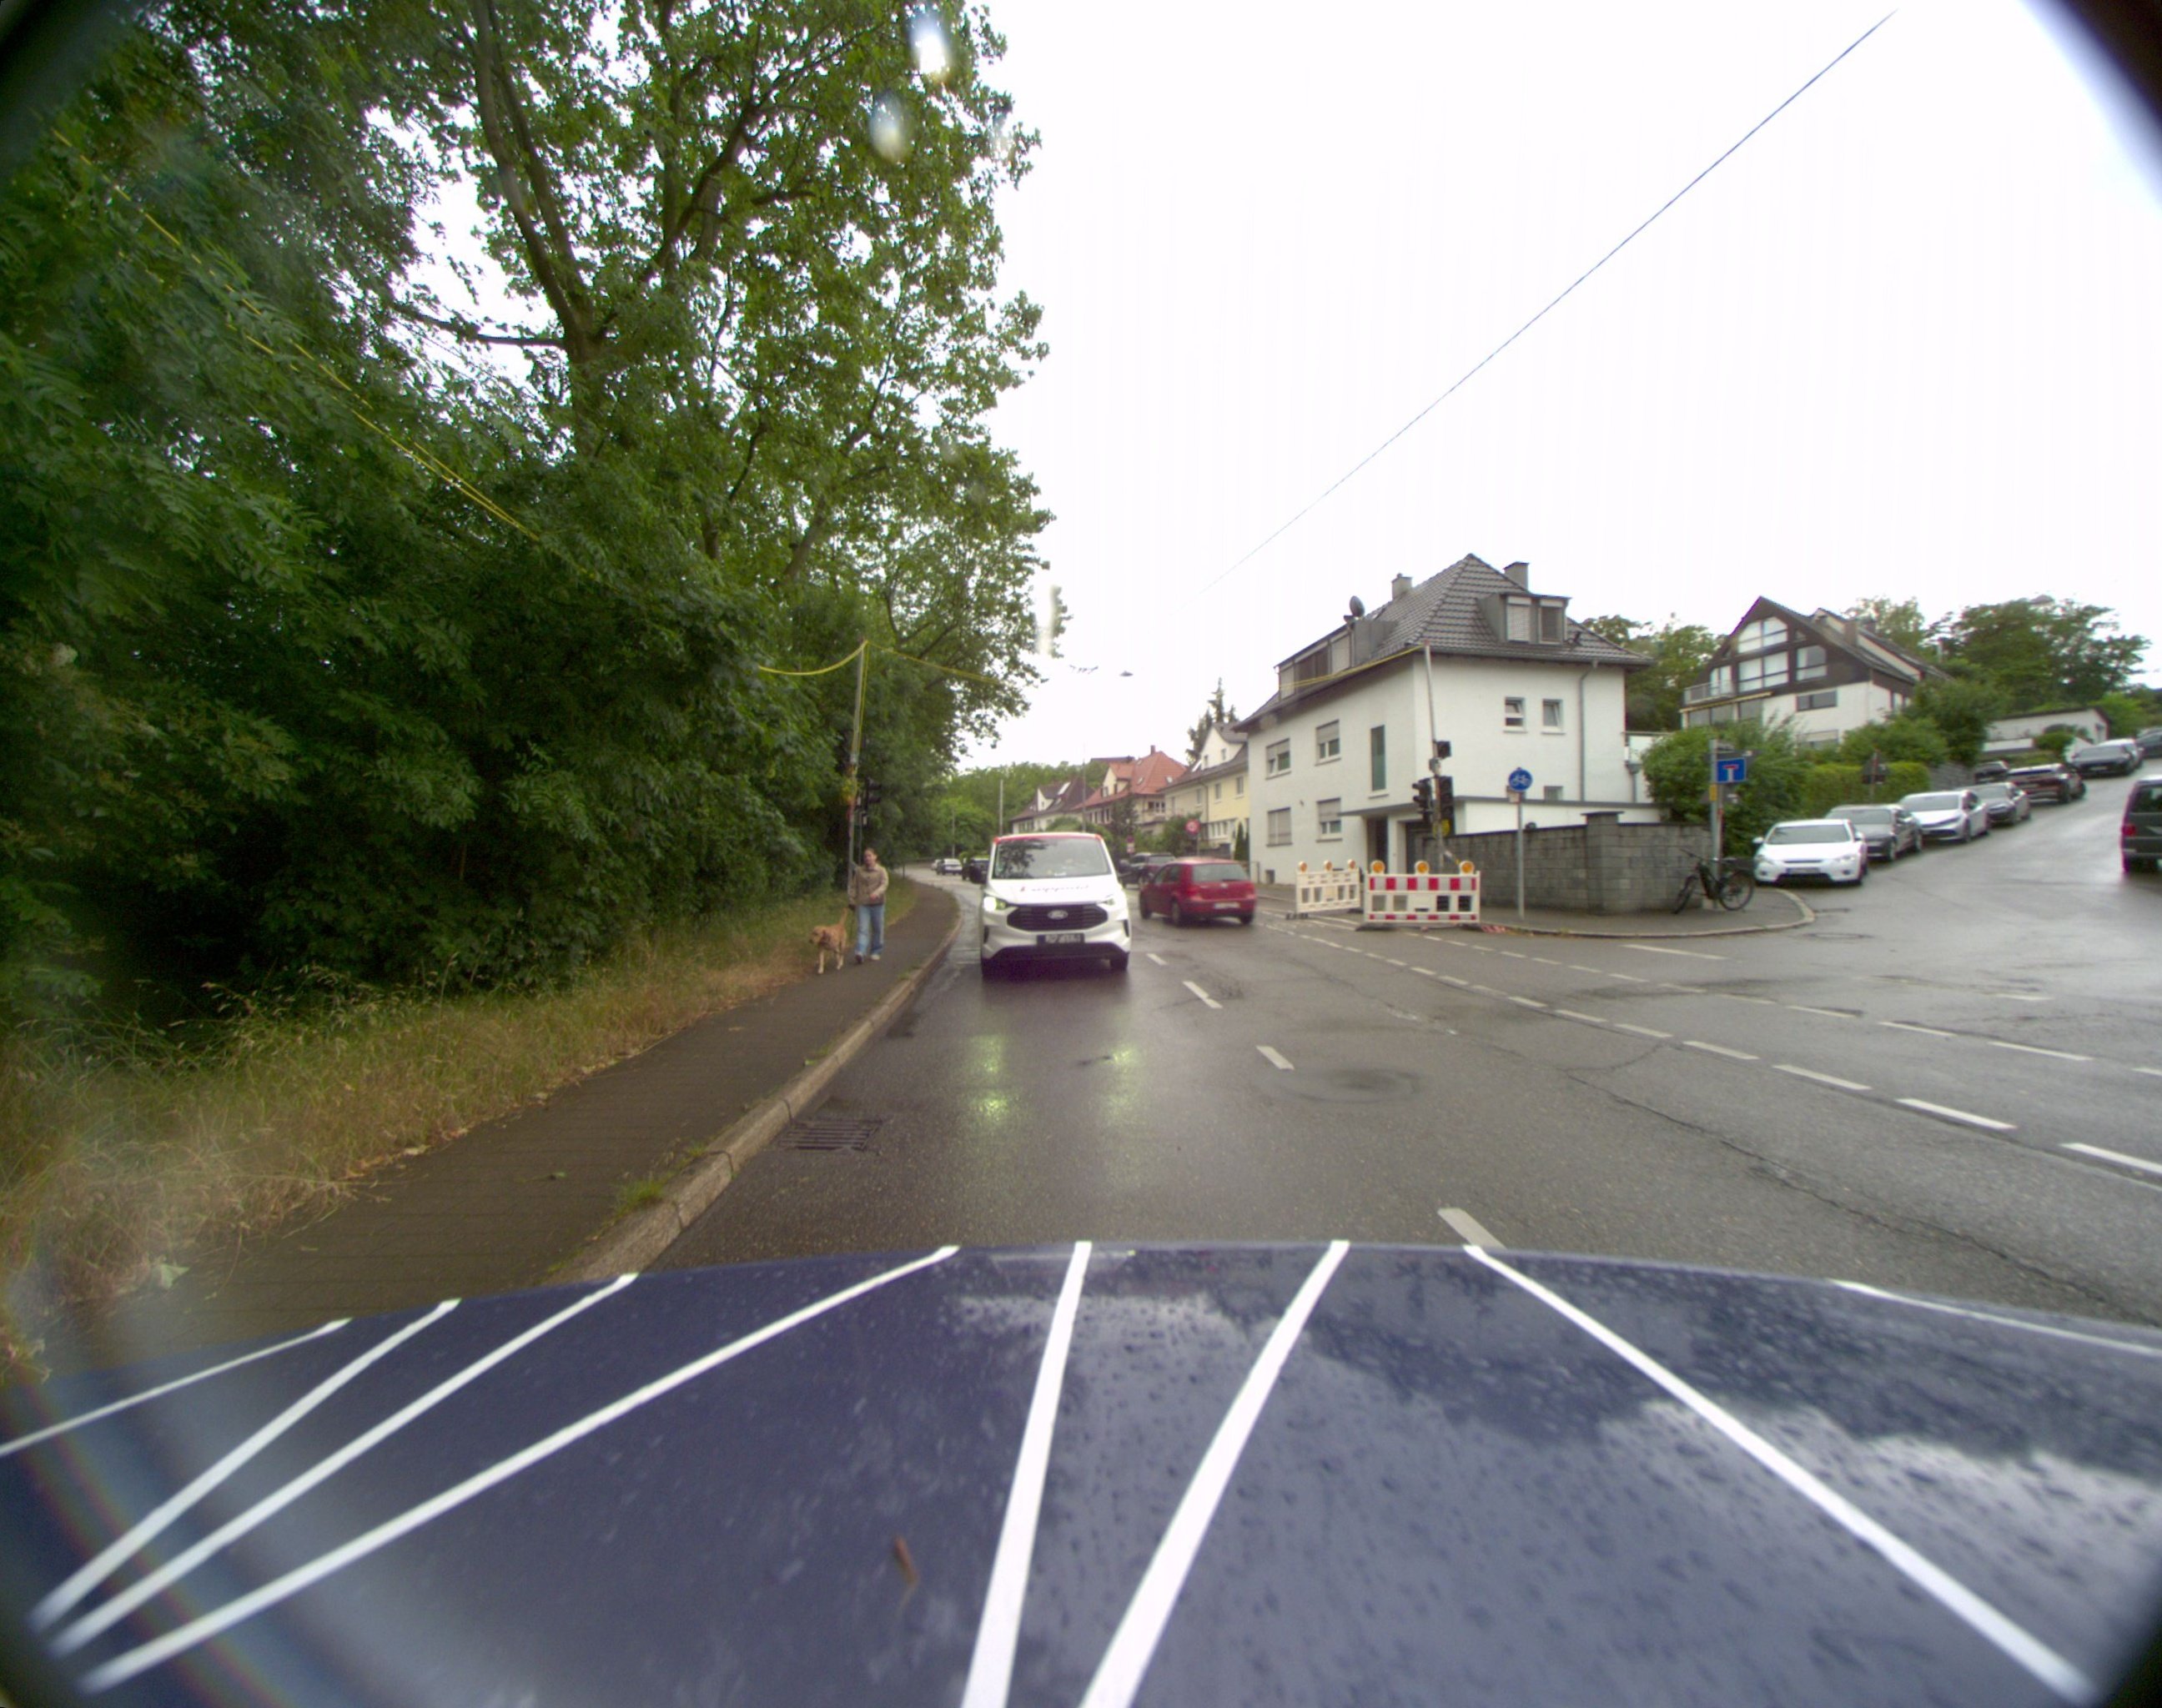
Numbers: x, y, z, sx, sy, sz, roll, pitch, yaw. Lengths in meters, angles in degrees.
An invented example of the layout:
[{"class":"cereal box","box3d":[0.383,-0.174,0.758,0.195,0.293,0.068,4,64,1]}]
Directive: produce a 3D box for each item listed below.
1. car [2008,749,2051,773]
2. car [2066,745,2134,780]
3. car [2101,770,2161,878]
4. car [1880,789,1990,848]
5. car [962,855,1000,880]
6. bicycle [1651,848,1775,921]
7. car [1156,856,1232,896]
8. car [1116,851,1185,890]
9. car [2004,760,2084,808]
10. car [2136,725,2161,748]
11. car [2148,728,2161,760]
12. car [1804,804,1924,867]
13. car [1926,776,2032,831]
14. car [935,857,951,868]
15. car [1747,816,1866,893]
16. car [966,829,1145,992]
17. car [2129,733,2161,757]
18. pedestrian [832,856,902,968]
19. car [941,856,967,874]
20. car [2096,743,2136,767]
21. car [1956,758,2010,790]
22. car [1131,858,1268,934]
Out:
[{"class":"car","box3d":[57.230,-5.632,45.865,3.656,1.205,1.577,-7,3,-38]},{"class":"car","box3d":[54.806,-4.873,40.841,4.034,1.511,1.786,-2,0,-31]},{"class":"car","box3d":[23.873,-0.746,16.262,4.497,2.003,1.996,-7,3,-31]},{"class":"car","box3d":[27.260,-1.147,24.232,3.951,1.462,1.755,-7,3,-33]},{"class":"car","box3d":[-7.162,0.940,54.288,1.874,1.612,4.158,-2,0,-18]},{"class":"bicycle","box3d":[11.578,0.542,13.936,2.006,1.232,0.510,-2,3,-8]},{"class":"car","box3d":[4.373,0.822,29.906,1.787,1.423,3.844,-2,0,-10]},{"class":"car","box3d":[3.121,0.736,35.034,1.798,1.630,4.150,-1,0,-15]},{"class":"car","box3d":[40.710,-2.977,32.112,4.004,1.617,1.638,-8,4,-32]},{"class":"car","box3d":[81.110,-8.860,55.959,1.754,1.508,3.961,-3,1,-35]},{"class":"car","box3d":[72.456,-7.441,48.981,2.003,2.000,3.993,-2,-4,-32]},{"class":"car","box3d":[22.454,-0.553,21.759,3.910,1.380,1.719,-7,3,-34]},{"class":"car","box3d":[32.318,-1.826,27.334,4.111,1.430,1.921,-9,4,-33]},{"class":"car","box3d":[-18.750,1.135,103.013,1.691,1.419,3.770,-2,0,-17]},{"class":"car","box3d":[17.767,-0.043,18.538,4.126,1.455,1.849,-7,4,-43]},{"class":"car","box3d":[-0.388,0.680,11.746,2.102,1.908,5.089,-2,0,-2]},{"class":"car","box3d":[68.316,-6.930,47.697,1.286,1.310,2.945,-3,1,-36]},{"class":"pedestrian","box3d":[-2.963,0.778,10.605,0.735,1.490,0.785,1,1,-1]},{"class":"car","box3d":[-12.231,1.052,72.939,1.860,1.518,4.813,-3,0,-16]},{"class":"car","box3d":[59.828,-5.735,43.897,2.988,1.191,1.305,-6,3,-35]},{"class":"car","box3d":[52.859,-4.643,44.517,4.020,1.545,1.812,-3,1,-37]},{"class":"car","box3d":[2.536,0.866,17.247,1.770,1.454,3.882,-2,0,-12]}]
